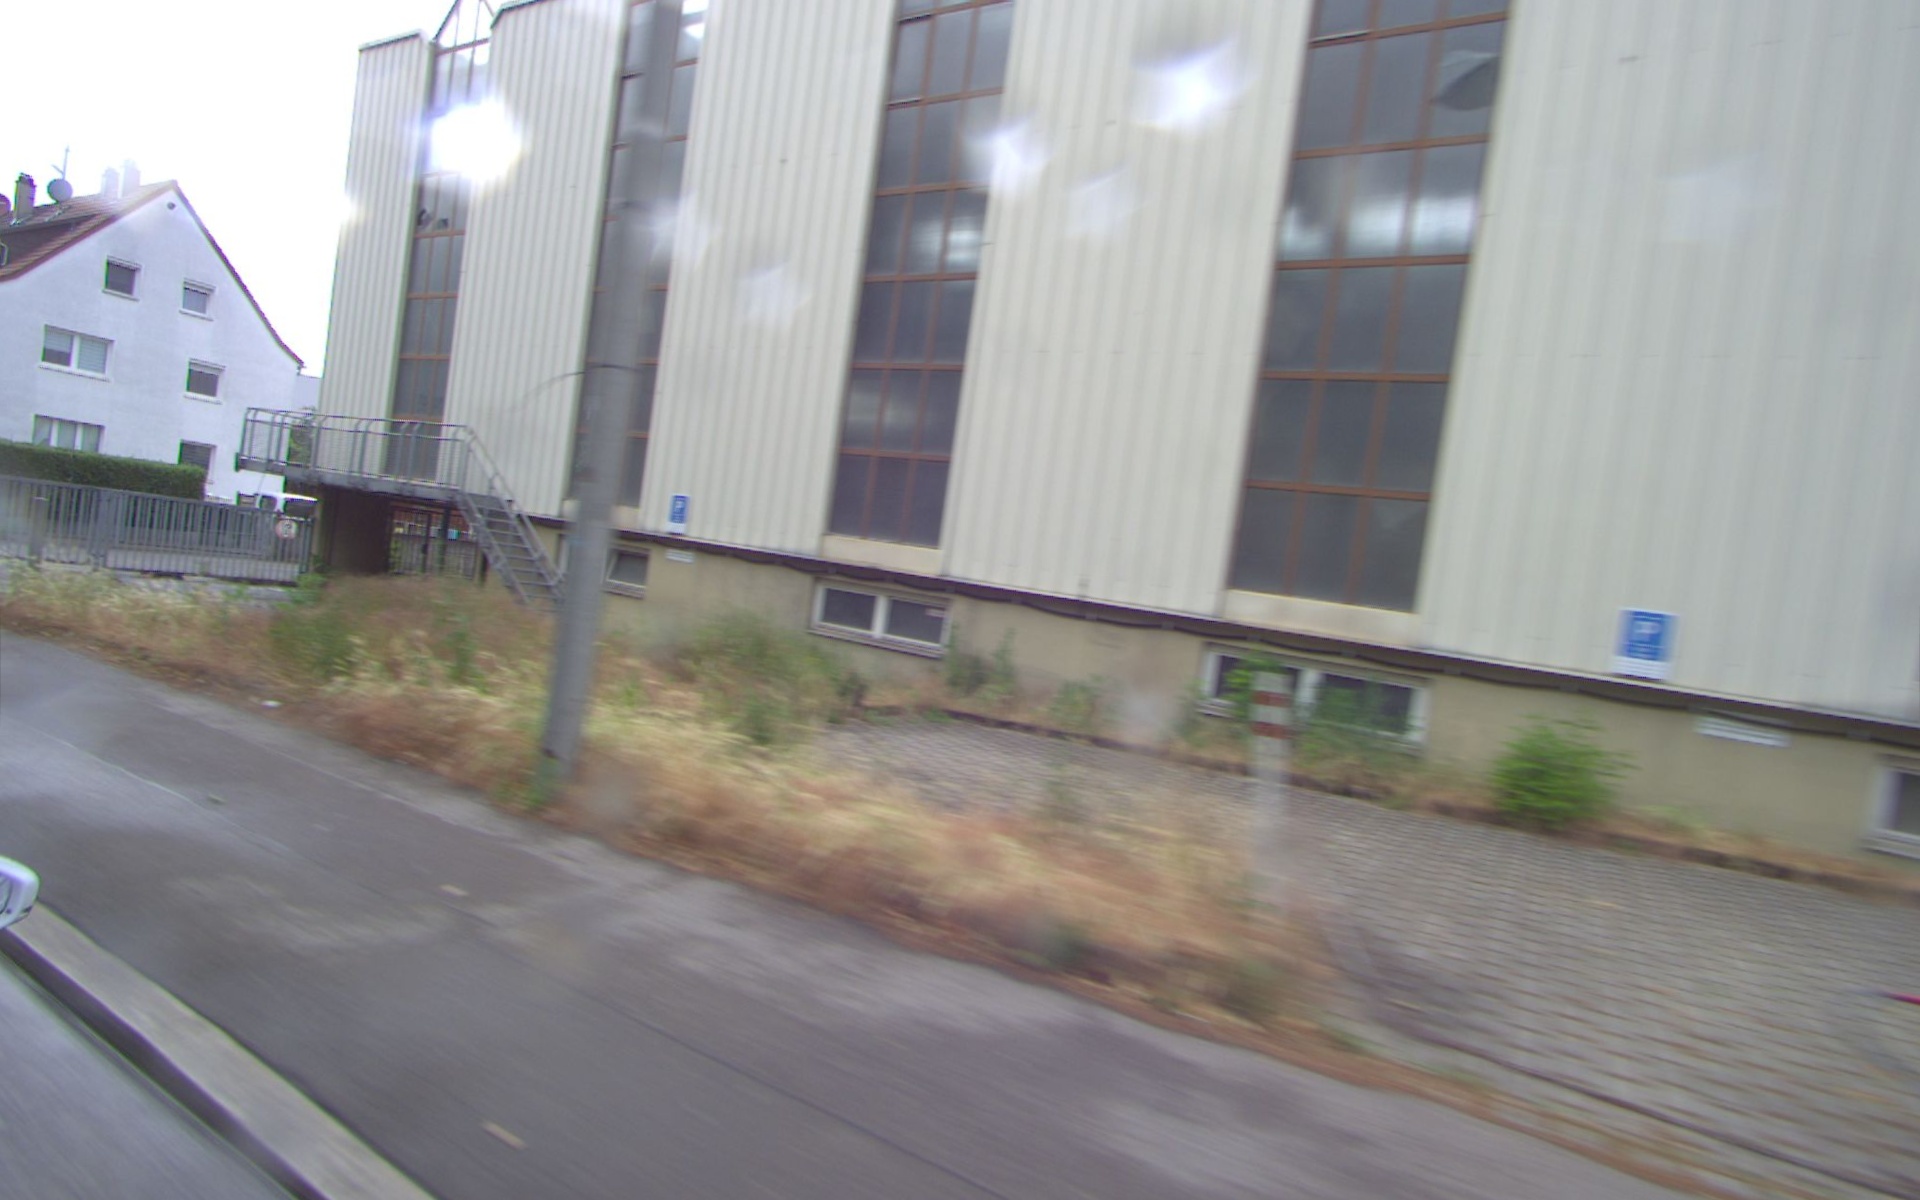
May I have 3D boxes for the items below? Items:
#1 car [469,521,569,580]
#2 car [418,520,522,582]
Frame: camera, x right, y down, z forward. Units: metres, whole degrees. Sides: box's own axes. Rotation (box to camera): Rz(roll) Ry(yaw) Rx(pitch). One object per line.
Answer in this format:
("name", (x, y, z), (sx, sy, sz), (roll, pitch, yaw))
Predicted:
("car", (-18.999, -2.139, 43.339), (3.933, 2.038, 1.864), (7, 0, 31))
("car", (-20.126, -2.038, 41.316), (3.933, 2.038, 1.864), (7, 0, 31))
